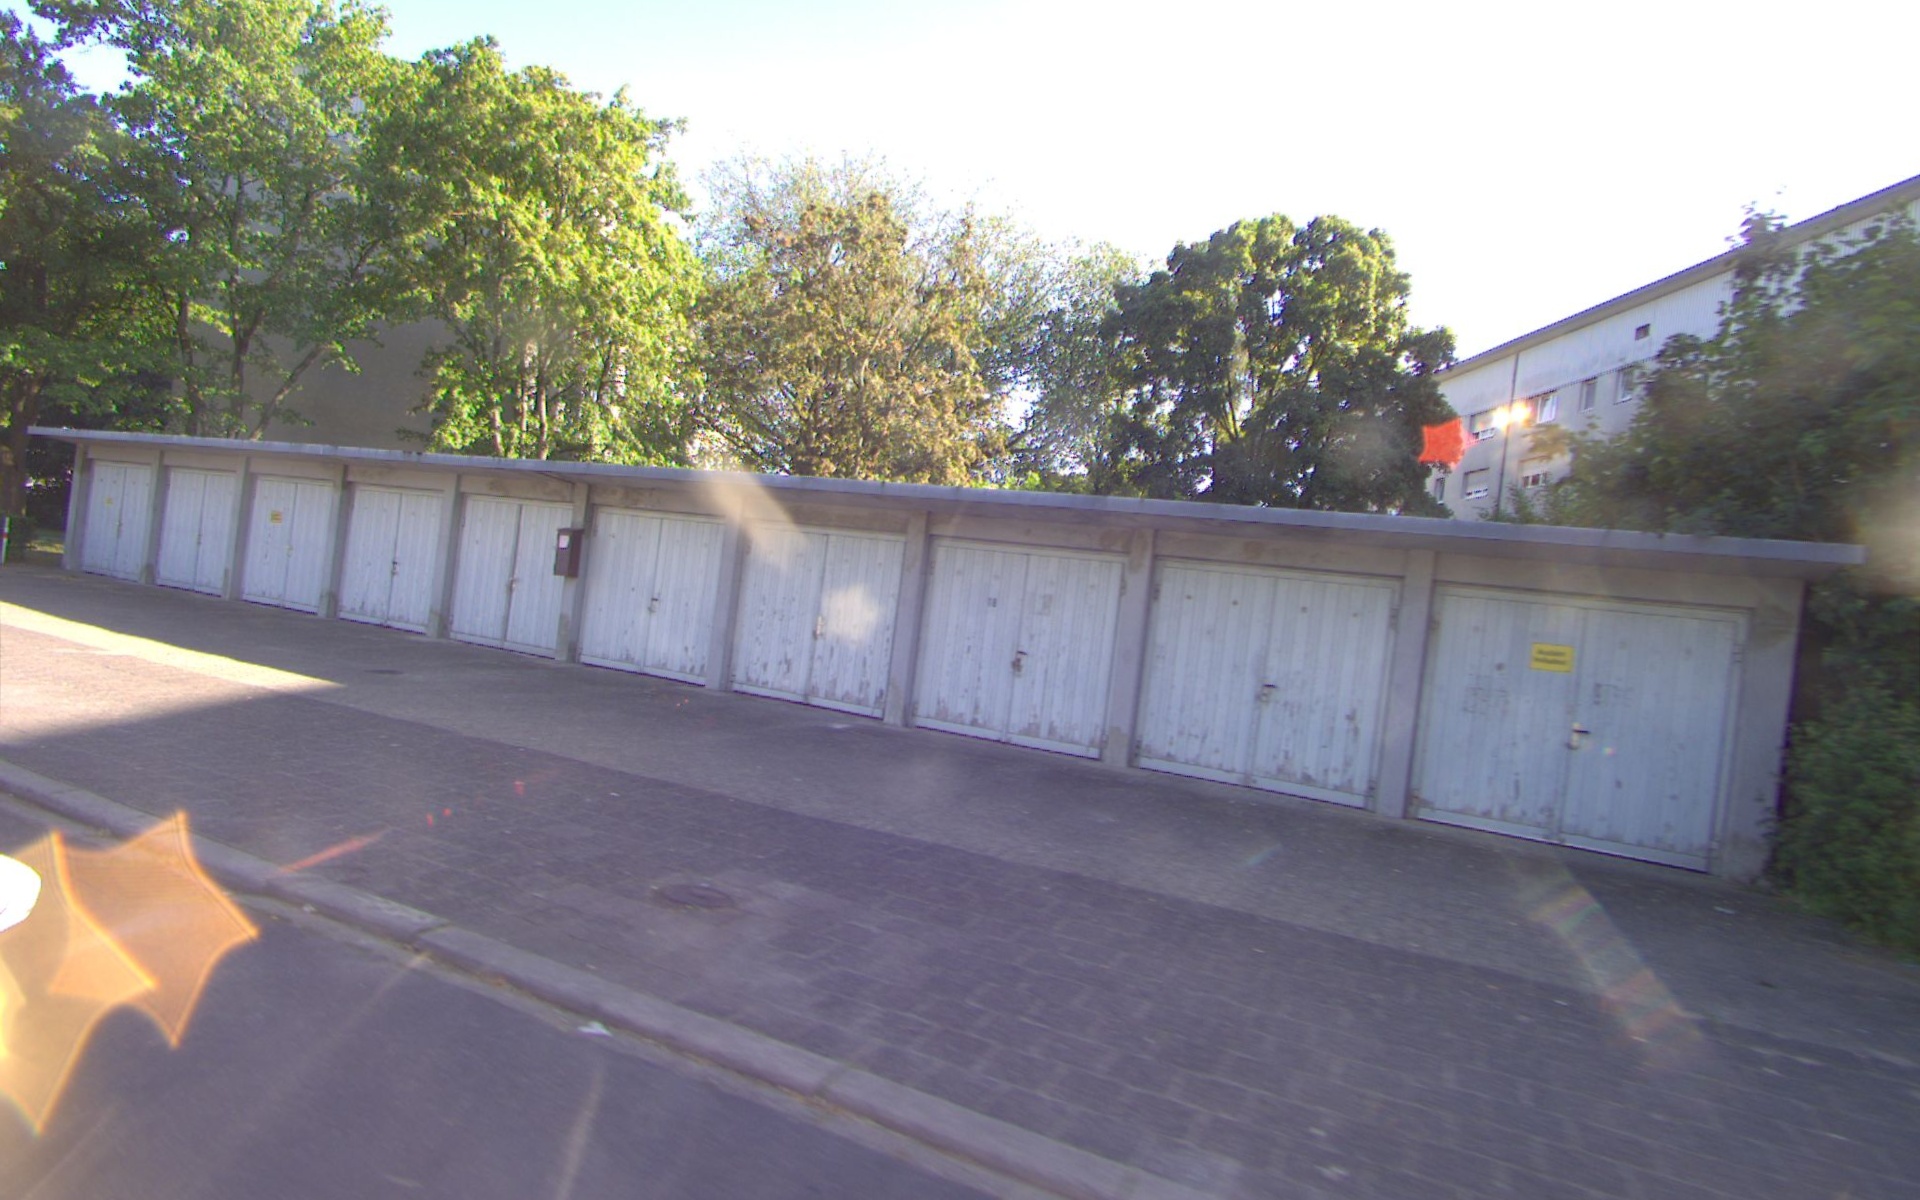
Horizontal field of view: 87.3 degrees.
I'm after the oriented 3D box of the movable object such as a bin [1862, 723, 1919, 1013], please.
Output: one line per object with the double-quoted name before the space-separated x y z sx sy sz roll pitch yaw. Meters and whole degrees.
"movable object such as a bin" 5.577 1.461 5.194 1.007 1.471 0.920 7 0 25
